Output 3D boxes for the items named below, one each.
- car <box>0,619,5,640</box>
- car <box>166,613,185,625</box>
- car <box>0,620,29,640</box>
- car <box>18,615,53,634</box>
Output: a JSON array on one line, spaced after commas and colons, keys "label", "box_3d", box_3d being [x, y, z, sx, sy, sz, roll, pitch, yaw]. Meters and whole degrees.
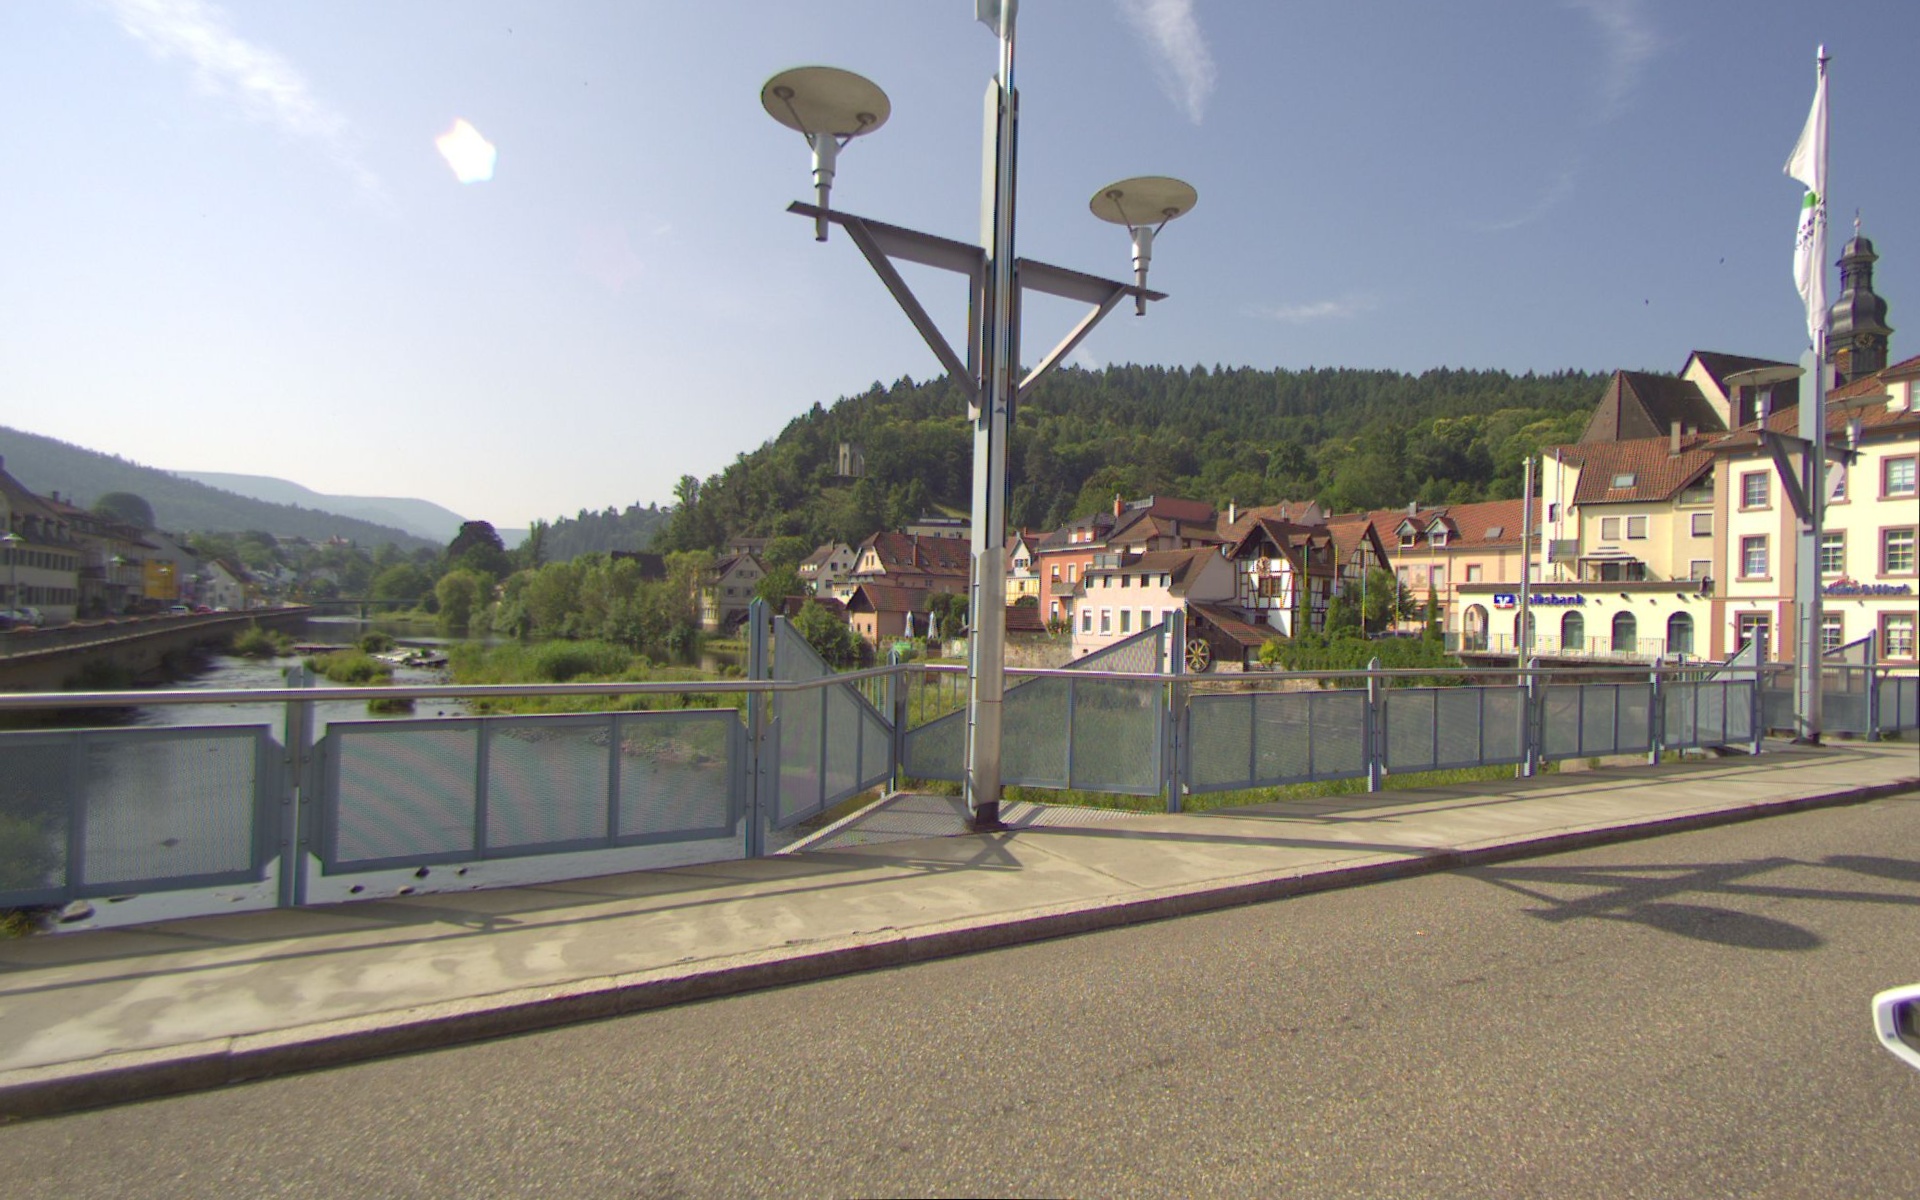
[{"label": "car", "box_3d": [-69.142, 2.118, 70.932, 1.733, 1.467, 3.248, 1, -1, -31]}, {"label": "car", "box_3d": [-95.647, 2.315, 122.466, 1.502, 1.467, 3.248, 1, -1, -31]}, {"label": "car", "box_3d": [-72.264, 2.264, 76.235, 1.733, 1.467, 3.248, 1, -1, -31]}, {"label": "car", "box_3d": [-75.893, 2.009, 82.484, 1.502, 1.467, 3.248, 1, -1, -31]}]
